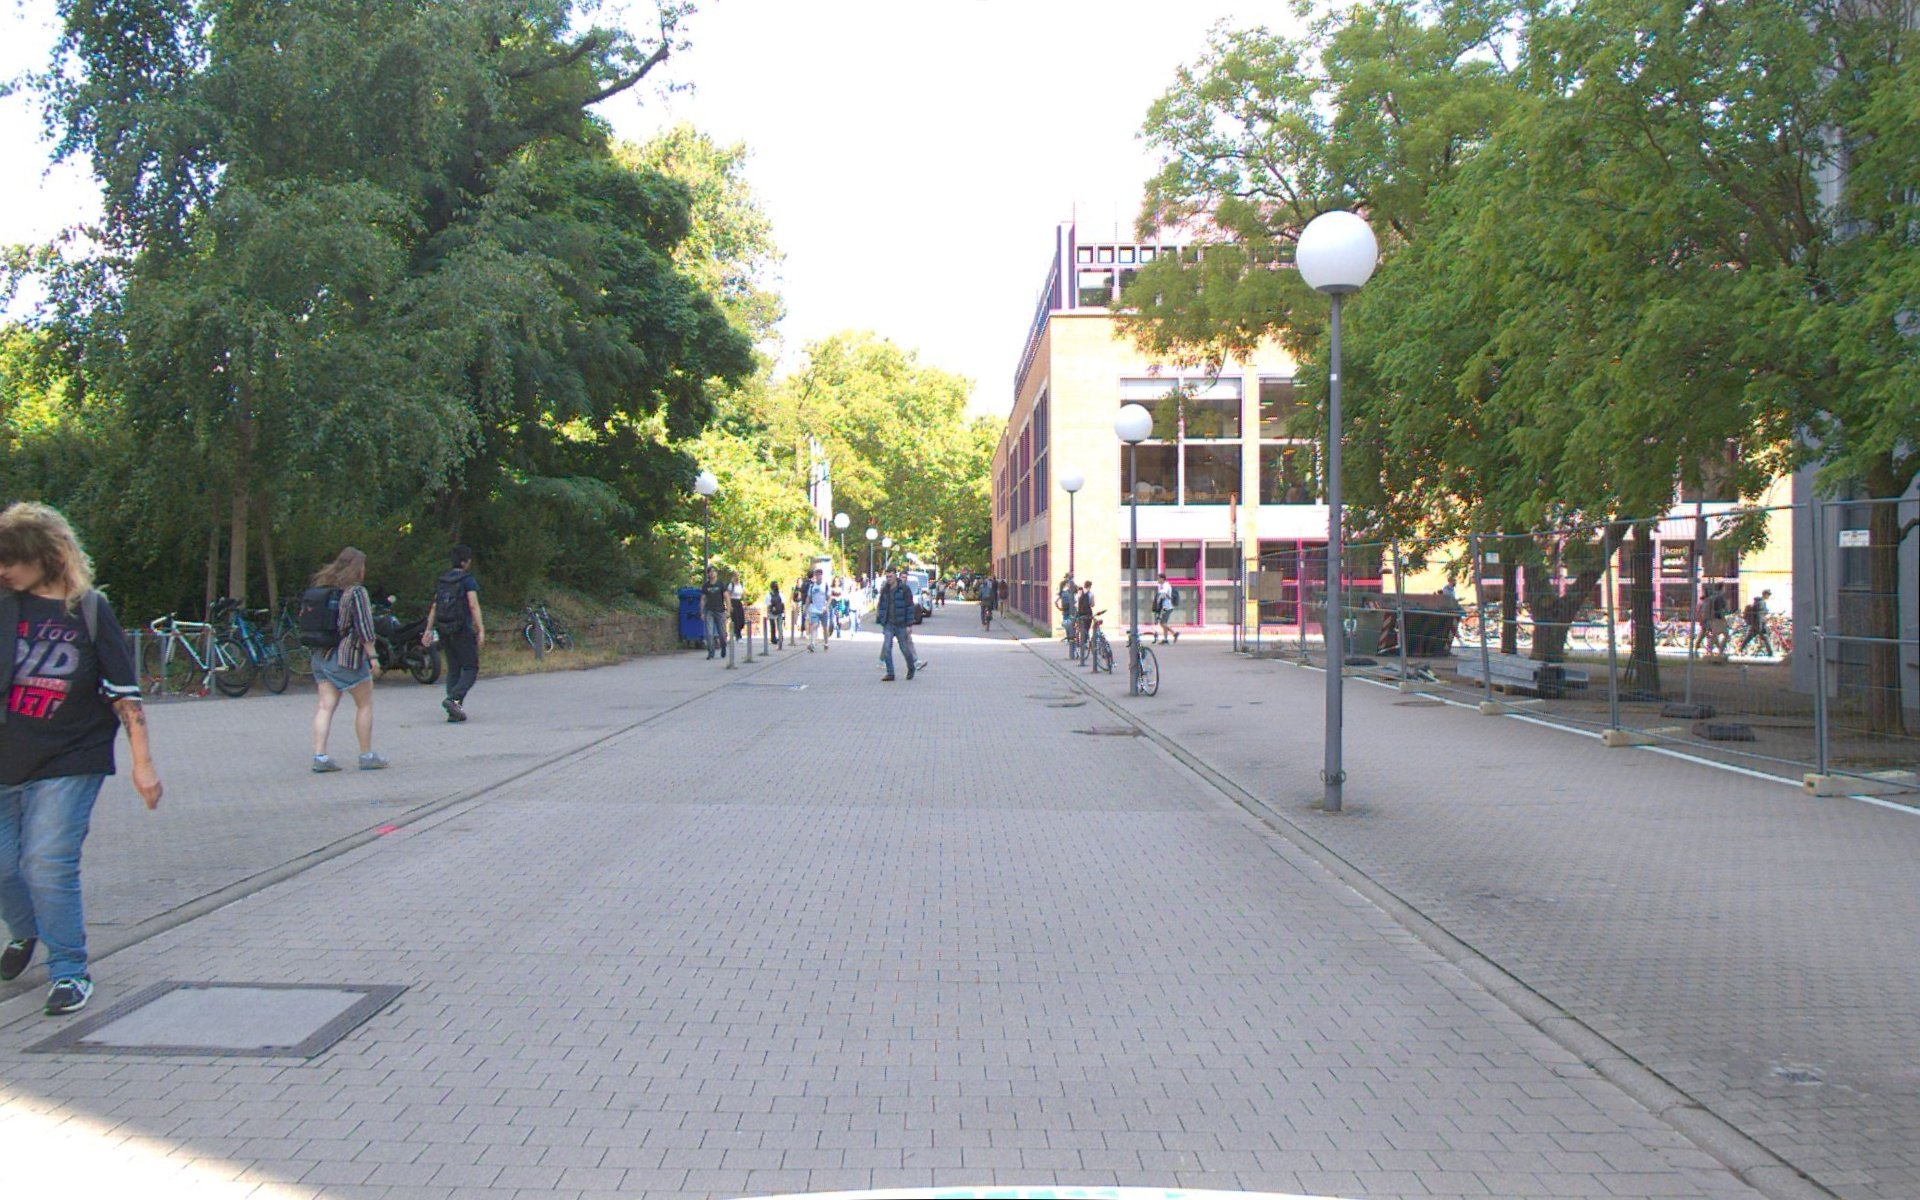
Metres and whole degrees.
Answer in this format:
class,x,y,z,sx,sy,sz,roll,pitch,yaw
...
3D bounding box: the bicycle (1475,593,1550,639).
class,x,y,z,sx,sy,sz,roll,pitch,yaw
bicycle,14.433,0.418,43.196,1.773,1.129,0.523,1,0,-1

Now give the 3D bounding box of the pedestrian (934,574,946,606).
class,x,y,z,sx,sy,sz,roll,pitch,yaw
pedestrian,-1.035,-0.521,87.202,0.574,1.702,0.817,-1,-1,1

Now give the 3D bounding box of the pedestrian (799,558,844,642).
class,x,y,z,sx,sy,sz,roll,pitch,yaw
pedestrian,-3.190,0.002,38.074,0.708,1.914,1.083,1,0,13

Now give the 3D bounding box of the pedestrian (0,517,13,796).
class,x,y,z,sx,sy,sz,roll,pitch,yaw
pedestrian,-6.574,0.363,10.196,0.704,1.754,1.062,0,1,32

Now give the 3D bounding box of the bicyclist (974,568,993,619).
class,x,y,z,sx,sy,sz,roll,pitch,yaw
bicyclist,0.814,-0.221,57.063,0.575,1.746,0.665,0,0,-4

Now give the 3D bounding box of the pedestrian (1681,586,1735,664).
class,x,y,z,sx,sy,sz,roll,pitch,yaw
pedestrian,16.999,0.569,37.590,0.884,1.758,0.684,0,-2,-5

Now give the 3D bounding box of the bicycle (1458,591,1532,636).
class,x,y,z,sx,sy,sz,roll,pitch,yaw
bicycle,14.234,0.356,44.050,1.771,1.129,0.524,1,0,3

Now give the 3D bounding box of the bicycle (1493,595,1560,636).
class,x,y,z,sx,sy,sz,roll,pitch,yaw
bicycle,16.333,0.445,47.706,1.771,1.129,0.473,1,0,-7

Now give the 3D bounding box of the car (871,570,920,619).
class,x,y,z,sx,sy,sz,roll,pitch,yaw
car,-2.443,-0.239,63.467,1.754,1.792,4.481,0,1,-1

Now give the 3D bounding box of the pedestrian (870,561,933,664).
class,x,y,z,sx,sy,sz,roll,pitch,yaw
pedestrian,-1.086,0.220,30.625,0.773,1.877,1.109,1,0,-25

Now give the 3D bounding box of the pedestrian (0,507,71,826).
class,x,y,z,sx,sy,sz,roll,pitch,yaw
pedestrian,-5.927,0.389,9.799,0.672,1.867,0.938,0,1,33

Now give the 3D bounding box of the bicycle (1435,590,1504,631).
class,x,y,z,sx,sy,sz,roll,pitch,yaw
bicycle,14.431,0.296,46.851,1.773,1.129,0.523,1,0,-2

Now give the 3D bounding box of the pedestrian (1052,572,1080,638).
class,x,y,z,sx,sy,sz,roll,pitch,yaw
pedestrian,2.760,0.123,43.070,0.682,1.702,0.588,-1,-1,7

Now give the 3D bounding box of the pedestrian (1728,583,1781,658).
class,x,y,z,sx,sy,sz,roll,pitch,yaw
pedestrian,18.858,0.495,39.283,0.884,1.758,0.684,0,-2,-5

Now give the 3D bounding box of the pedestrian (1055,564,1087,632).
class,x,y,z,sx,sy,sz,roll,pitch,yaw
pedestrian,3.089,-0.050,46.056,0.809,1.876,0.684,1,0,-3

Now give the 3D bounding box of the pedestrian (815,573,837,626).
class,x,y,z,sx,sy,sz,roll,pitch,yaw
pedestrian,-4.210,-0.005,51.945,0.669,1.649,0.913,1,0,-5

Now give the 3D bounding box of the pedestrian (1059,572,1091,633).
class,x,y,z,sx,sy,sz,roll,pitch,yaw
pedestrian,3.138,0.077,45.225,0.765,1.649,0.684,1,0,-3

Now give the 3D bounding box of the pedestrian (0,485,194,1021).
class,x,y,z,sx,sy,sz,roll,pitch,yaw
pedestrian,-3.125,0.486,5.752,0.758,1.709,0.899,2,0,-27

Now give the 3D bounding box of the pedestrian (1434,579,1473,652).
class,x,y,z,sx,sy,sz,roll,pitch,yaw
pedestrian,12.086,0.391,40.529,0.883,1.758,0.685,-1,-2,16

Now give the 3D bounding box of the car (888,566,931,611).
class,x,y,z,sx,sy,sz,roll,pitch,yaw
car,-2.277,-0.549,75.764,1.845,2.008,5.214,0,1,-1

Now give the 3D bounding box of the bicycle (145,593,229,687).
class,x,y,z,sx,sy,sz,roll,pitch,yaw
bicycle,-9.278,0.457,19.822,0.470,1.065,1.674,1,0,-41

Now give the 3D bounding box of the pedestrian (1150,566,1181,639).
class,x,y,z,sx,sy,sz,roll,pitch,yaw
pedestrian,5.215,0.068,42.034,0.750,1.826,0.588,-1,-1,7

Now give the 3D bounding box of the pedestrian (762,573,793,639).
class,x,y,z,sx,sy,sz,roll,pitch,yaw
pedestrian,-4.576,0.152,41.388,0.560,1.639,0.913,1,0,-20

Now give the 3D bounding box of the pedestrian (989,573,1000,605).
class,x,y,z,sx,sy,sz,roll,pitch,yaw
pedestrian,1.835,-0.566,88.134,0.574,1.702,0.817,-1,-1,1

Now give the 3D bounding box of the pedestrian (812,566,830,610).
class,x,y,z,sx,sy,sz,roll,pitch,yaw
pedestrian,-5.949,-0.517,70.664,0.668,1.876,0.783,1,0,-1

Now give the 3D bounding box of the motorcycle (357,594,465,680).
class,x,y,z,sx,sy,sz,roll,pitch,yaw
motorcycle,-7.504,0.485,22.541,1.990,1.065,0.471,3,1,42

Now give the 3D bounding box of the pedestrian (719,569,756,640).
class,x,y,z,sx,sy,sz,roll,pitch,yaw
pedestrian,-5.580,0.099,41.495,0.673,1.758,0.995,1,0,-22

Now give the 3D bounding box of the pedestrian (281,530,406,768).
class,x,y,z,sx,sy,sz,roll,pitch,yaw
pedestrian,-4.690,0.359,12.624,0.670,1.754,0.731,1,0,-3

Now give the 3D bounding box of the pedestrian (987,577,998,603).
class,x,y,z,sx,sy,sz,roll,pitch,yaw
pedestrian,2.177,-0.661,109.877,0.710,1.702,0.748,-1,-1,1

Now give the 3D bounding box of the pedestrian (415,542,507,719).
class,x,y,z,sx,sy,sz,roll,pitch,yaw
pedestrian,-5.128,0.302,17.051,0.670,1.754,0.903,1,0,-3

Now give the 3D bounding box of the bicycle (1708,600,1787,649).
class,x,y,z,sx,sy,sz,roll,pitch,yaw
bicycle,20.267,0.625,42.560,1.769,1.189,0.474,2,0,0

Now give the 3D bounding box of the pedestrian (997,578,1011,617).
class,x,y,z,sx,sy,sz,roll,pitch,yaw
pedestrian,1.957,-0.114,74.019,0.574,1.702,0.699,-1,-1,1

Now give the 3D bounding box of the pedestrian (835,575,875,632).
class,x,y,z,sx,sy,sz,roll,pitch,yaw
pedestrian,-2.933,0.092,46.236,0.735,1.569,0.877,2,-1,-37

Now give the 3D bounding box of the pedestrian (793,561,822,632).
class,x,y,z,sx,sy,sz,roll,pitch,yaw
pedestrian,-4.085,-0.096,44.297,0.668,1.876,0.783,1,0,-1

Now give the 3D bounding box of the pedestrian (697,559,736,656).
class,x,y,z,sx,sy,sz,roll,pitch,yaw
pedestrian,-4.887,0.155,33.231,0.669,1.905,1.120,1,0,-5

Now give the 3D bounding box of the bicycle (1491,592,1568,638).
class,x,y,z,sx,sy,sz,roll,pitch,yaw
bicycle,14.645,0.390,42.537,1.771,1.129,0.524,1,0,3

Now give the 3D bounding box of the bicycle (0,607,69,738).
class,x,y,z,sx,sy,sz,roll,pitch,yaw
bicycle,-8.217,0.584,13.199,0.531,1.065,1.900,0,-1,37

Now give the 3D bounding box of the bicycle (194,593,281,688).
class,x,y,z,sx,sy,sz,roll,pitch,yaw
bicycle,-8.888,0.483,20.314,0.470,1.065,1.674,2,0,-41

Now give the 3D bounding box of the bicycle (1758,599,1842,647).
class,x,y,z,sx,sy,sz,roll,pitch,yaw
bicycle,22.192,0.603,43.722,1.956,1.189,0.474,2,0,-2

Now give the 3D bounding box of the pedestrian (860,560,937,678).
class,x,y,z,sx,sy,sz,roll,pitch,yaw
pedestrian,-1.005,0.300,27.184,0.868,1.890,1.031,1,0,25

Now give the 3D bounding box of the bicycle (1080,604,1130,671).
class,x,y,z,sx,sy,sz,roll,pitch,yaw
bicycle,2.542,0.643,29.215,0.694,1.112,1.748,0,1,-1

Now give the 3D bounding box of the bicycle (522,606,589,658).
class,x,y,z,sx,sy,sz,roll,pitch,yaw
bicycle,-7.429,0.593,30.469,0.412,0.926,1.741,1,-1,14

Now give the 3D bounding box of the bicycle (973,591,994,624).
class,x,y,z,sx,sy,sz,roll,pitch,yaw
bicycle,0.810,0.260,57.100,0.575,1.102,1.906,0,1,-4

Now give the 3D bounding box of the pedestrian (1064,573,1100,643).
class,x,y,z,sx,sy,sz,roll,pitch,yaw
pedestrian,2.943,0.191,39.838,0.834,1.680,0.588,1,0,7

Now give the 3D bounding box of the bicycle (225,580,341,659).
class,x,y,z,sx,sy,sz,roll,pitch,yaw
bicycle,-9.640,0.277,23.602,0.463,1.065,1.700,2,0,21

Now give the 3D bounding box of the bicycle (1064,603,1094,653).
class,x,y,z,sx,sy,sz,roll,pitch,yaw
bicycle,2.485,0.572,34.723,0.441,0.978,1.740,-2,1,-1

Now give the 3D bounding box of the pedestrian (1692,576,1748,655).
class,x,y,z,sx,sy,sz,roll,pitch,yaw
pedestrian,16.949,0.348,36.886,0.884,1.758,0.684,0,-2,-5

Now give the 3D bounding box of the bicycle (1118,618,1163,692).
class,x,y,z,sx,sy,sz,roll,pitch,yaw
bicycle,2.538,0.759,23.411,0.387,0.952,1.732,-2,1,-1

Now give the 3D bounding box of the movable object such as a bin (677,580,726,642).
class,x,y,z,sx,sy,sz,roll,pitch,yaw
movable object such as a bin,-5.890,0.252,37.793,0.694,1.359,1.240,3,1,9

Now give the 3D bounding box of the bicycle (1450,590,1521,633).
class,x,y,z,sx,sy,sz,roll,pitch,yaw
bicycle,14.300,0.317,45.019,1.773,1.129,0.523,1,0,-4

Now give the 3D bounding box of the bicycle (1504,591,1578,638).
class,x,y,z,sx,sy,sz,roll,pitch,yaw
bicycle,14.530,0.364,41.413,1.659,1.129,0.474,1,0,3

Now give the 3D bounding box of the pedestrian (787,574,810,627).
class,x,y,z,sx,sy,sz,roll,pitch,yaw
pedestrian,-5.054,0.010,51.848,0.669,1.649,0.977,1,0,-5
